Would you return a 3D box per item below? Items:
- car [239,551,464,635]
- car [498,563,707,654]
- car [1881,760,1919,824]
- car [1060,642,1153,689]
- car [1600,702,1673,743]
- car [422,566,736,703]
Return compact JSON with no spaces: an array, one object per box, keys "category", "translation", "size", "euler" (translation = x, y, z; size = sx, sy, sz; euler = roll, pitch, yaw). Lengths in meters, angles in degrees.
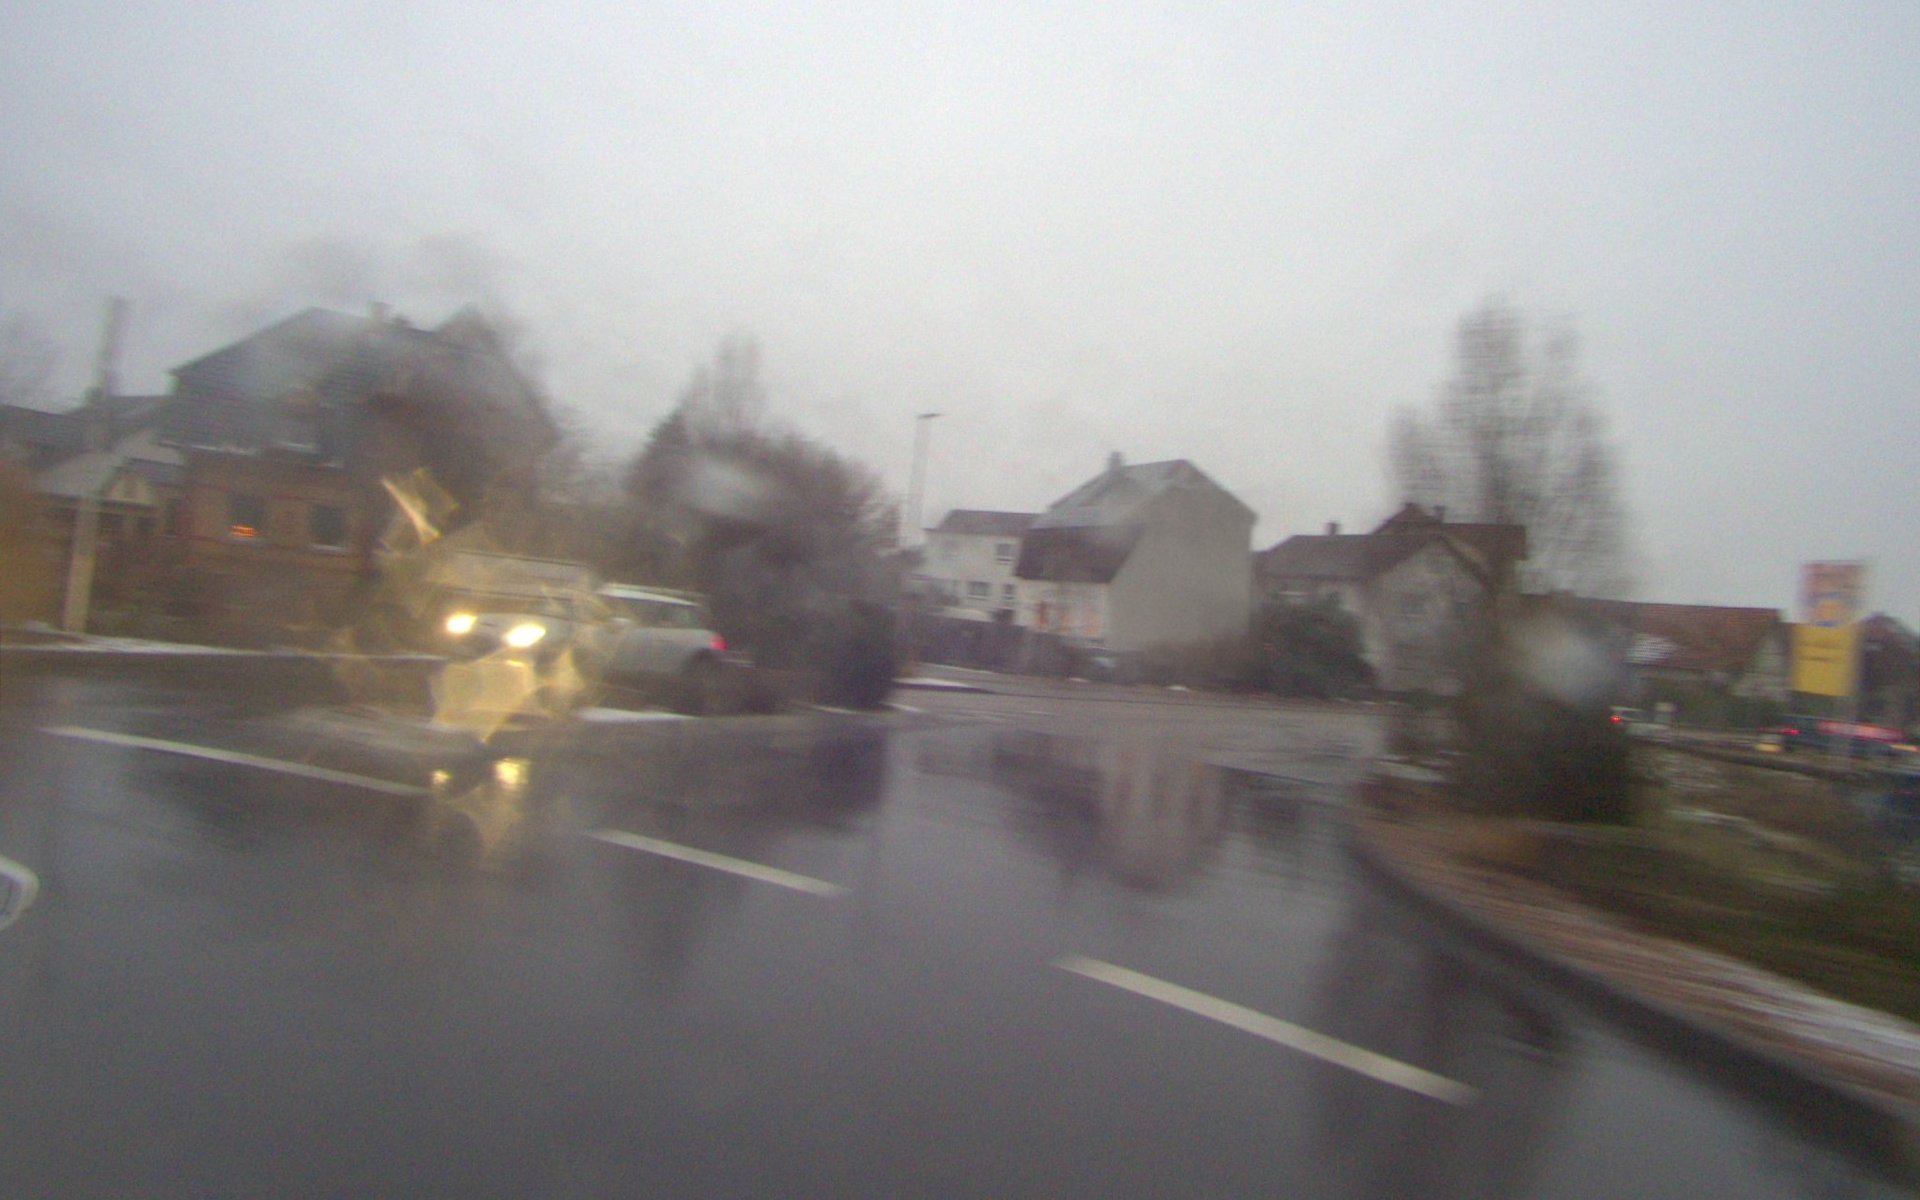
[{"category":"car","translation":[-17.374,-0.192,29.034],"size":[5.271,1.889,2.349],"euler":[5,1,-31]},{"category":"car","translation":[-10.089,0.276,28.524],"size":[5.189,1.941,1.925],"euler":[7,-2,-30]},{"category":"car","translation":[25.439,4.996,24.668],"size":[3.888,1.419,1.608],"euler":[5,-1,33]},{"category":"car","translation":[6.291,2.816,43.653],"size":[1.893,1.505,3.970],"euler":[5,1,-29]},{"category":"car","translation":[30.249,5.482,44.945],"size":[3.826,1.509,1.741],"euler":[8,-3,-42]},{"category":"car","translation":[-4.988,0.554,13.677],"size":[1.635,1.509,3.708],"euler":[5,-3,29]}]
